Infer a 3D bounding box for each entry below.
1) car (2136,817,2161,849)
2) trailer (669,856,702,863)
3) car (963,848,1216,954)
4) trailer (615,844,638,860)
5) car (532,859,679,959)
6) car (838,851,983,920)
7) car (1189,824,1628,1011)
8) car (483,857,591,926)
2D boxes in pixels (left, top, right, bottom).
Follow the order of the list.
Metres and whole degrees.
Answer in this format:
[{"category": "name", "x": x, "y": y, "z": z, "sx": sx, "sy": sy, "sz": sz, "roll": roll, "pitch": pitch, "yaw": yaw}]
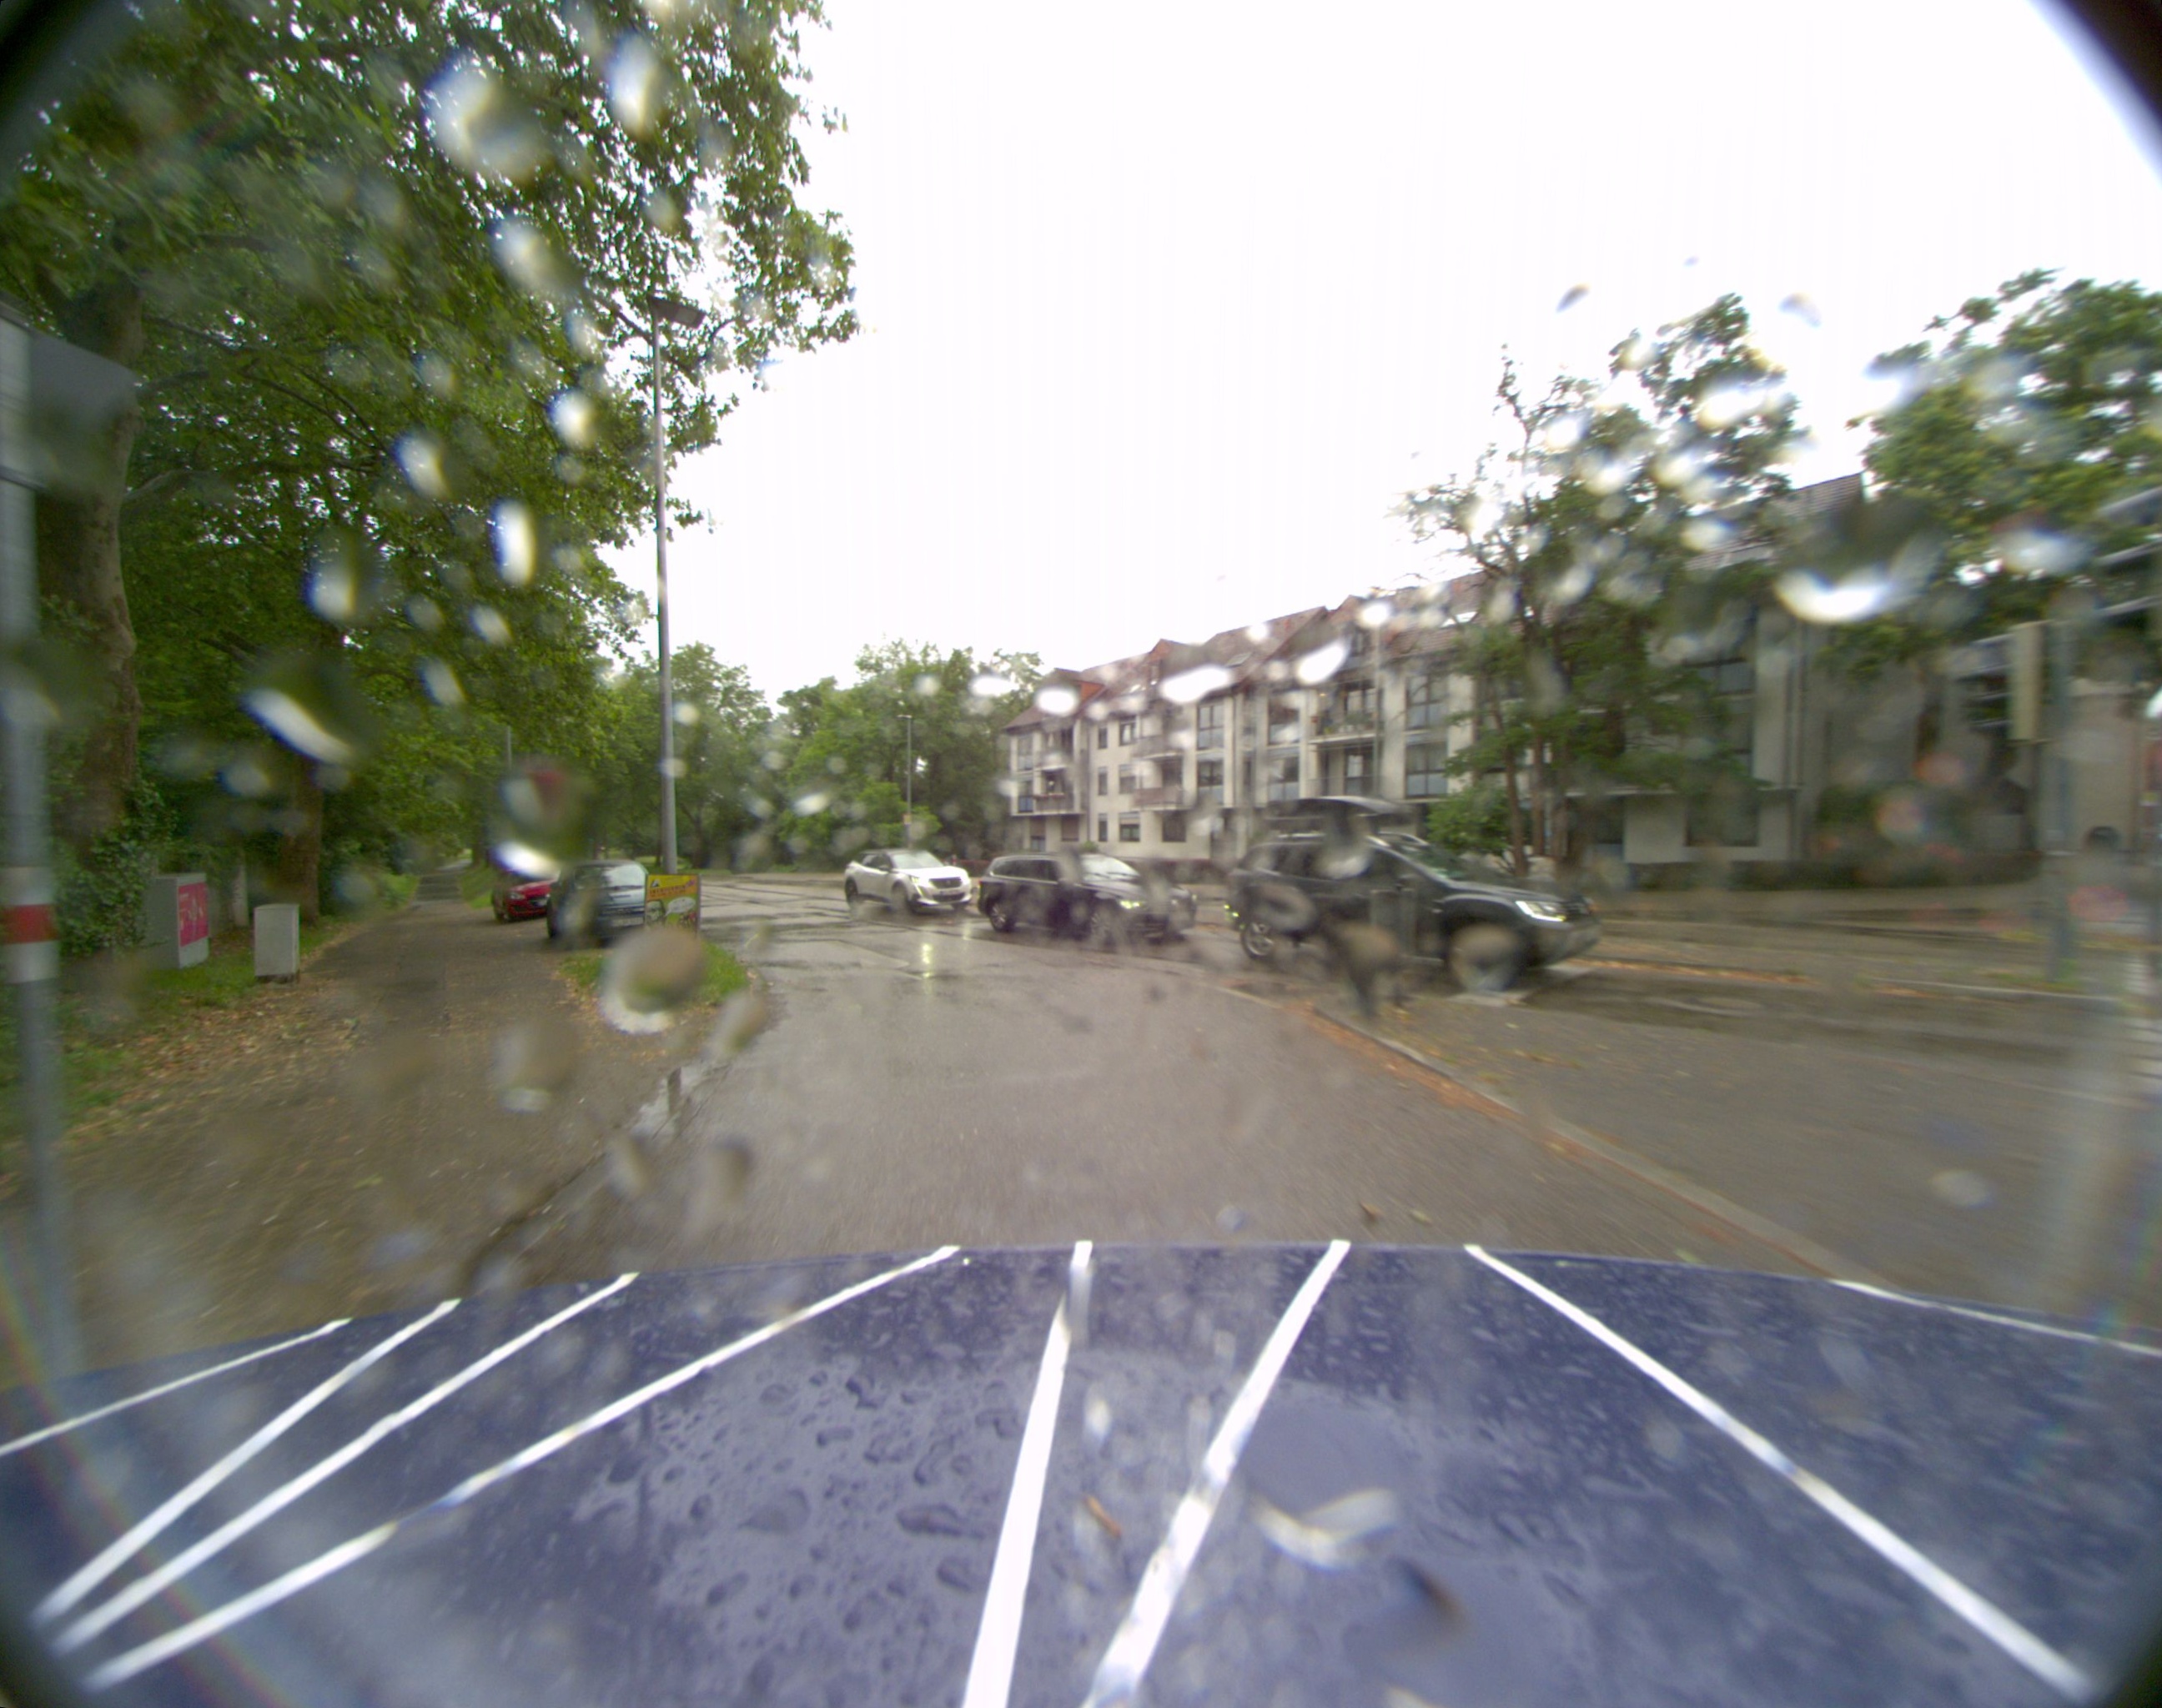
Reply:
[{"category": "car", "x": 67.559, "y": -1.289, "z": 47.132, "sx": 4.457, "sy": 1.948, "sz": 2.077, "roll": 0, "pitch": 2, "yaw": -40}, {"category": "trailer", "x": -62.890, "y": 0.833, "z": 120.804, "sx": 4.339, "sy": 1.026, "sz": 2.375, "roll": -1, "pitch": 2, "yaw": -38}, {"category": "car", "x": -0.037, "y": 0.726, "z": 13.586, "sx": 1.840, "sy": 1.448, "sz": 4.645, "roll": -5, "pitch": 3, "yaw": -41}, {"category": "trailer", "x": -79.072, "y": -0.343, "z": 132.144, "sx": 2.812, "sy": 2.648, "sz": 6.633, "roll": 0, "pitch": 2, "yaw": -35}, {"category": "car", "x": -9.102, "y": 0.913, "z": 14.427, "sx": 1.758, "sy": 1.484, "sz": 3.589, "roll": -5, "pitch": 4, "yaw": -40}, {"category": "car", "x": -4.417, "y": 0.695, "z": 19.232, "sx": 1.762, "sy": 1.527, "sz": 4.355, "roll": -1, "pitch": 1, "yaw": -40}, {"category": "car", "x": 3.700, "y": 0.593, "z": 9.309, "sx": 1.769, "sy": 1.701, "sz": 4.588, "roll": -4, "pitch": 2, "yaw": -42}, {"category": "car", "x": -15.353, "y": 1.011, "z": 21.378, "sx": 1.827, "sy": 1.510, "sz": 3.733, "roll": -12, "pitch": 6, "yaw": -42}]
